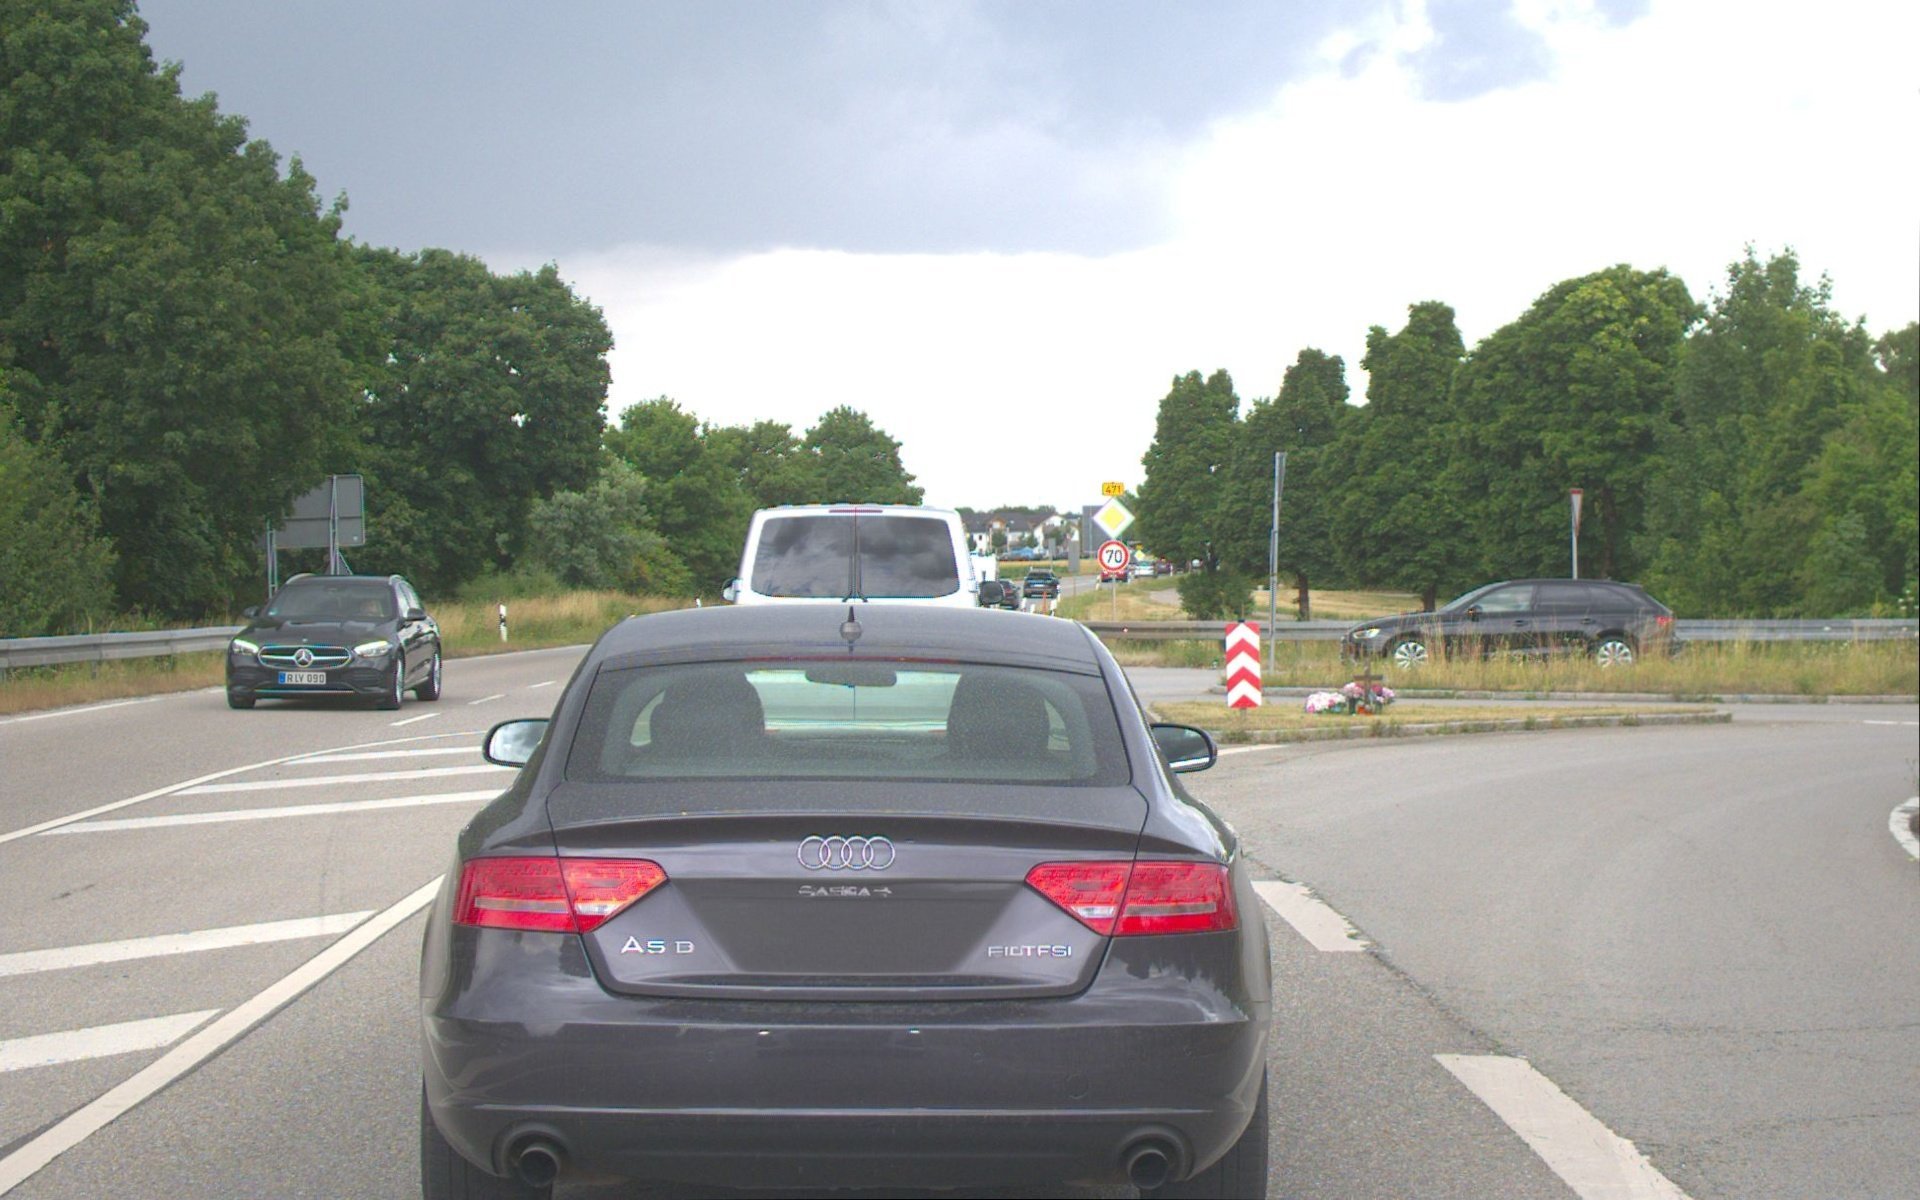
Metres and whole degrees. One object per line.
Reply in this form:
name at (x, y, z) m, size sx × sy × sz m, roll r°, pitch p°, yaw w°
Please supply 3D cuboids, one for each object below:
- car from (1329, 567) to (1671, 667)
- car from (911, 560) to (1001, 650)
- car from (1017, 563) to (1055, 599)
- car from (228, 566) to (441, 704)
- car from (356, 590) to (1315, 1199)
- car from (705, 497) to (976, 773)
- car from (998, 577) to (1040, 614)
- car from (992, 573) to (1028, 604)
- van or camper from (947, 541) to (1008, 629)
car at (7.541, 0.228, 48.332) m, size 4.596 × 1.369 × 1.826 m, roll 0°, pitch 0°, yaw 4°
car at (-0.066, 0.113, 81.940) m, size 1.994 × 2.081 × 4.000 m, roll 0°, pitch 0°, yaw 2°
car at (4.273, -1.080, 194.676) m, size 1.993 × 2.007 × 4.000 m, roll 1°, pitch 1°, yaw -1°
car at (-6.848, 0.343, 37.991) m, size 1.671 × 1.424 × 4.258 m, roll 0°, pitch 1°, yaw -1°
car at (-0.257, 0.695, 8.437) m, size 1.783 × 1.372 × 4.000 m, roll 1°, pitch 1°, yaw -1°
car at (-0.846, 0.213, 25.624) m, size 1.838 × 1.876 × 4.000 m, roll 1°, pitch 1°, yaw -1°
car at (2.148, -0.168, 125.449) m, size 1.258 × 1.349 × 3.465 m, roll 0°, pitch 0°, yaw 5°
car at (2.417, -0.556, 167.368) m, size 1.719 × 1.446 × 4.000 m, roll 1°, pitch 0°, yaw 1°
van or camper at (0.738, -0.602, 138.637) m, size 2.340 × 3.469 × 5.718 m, roll 0°, pitch 0°, yaw 2°
